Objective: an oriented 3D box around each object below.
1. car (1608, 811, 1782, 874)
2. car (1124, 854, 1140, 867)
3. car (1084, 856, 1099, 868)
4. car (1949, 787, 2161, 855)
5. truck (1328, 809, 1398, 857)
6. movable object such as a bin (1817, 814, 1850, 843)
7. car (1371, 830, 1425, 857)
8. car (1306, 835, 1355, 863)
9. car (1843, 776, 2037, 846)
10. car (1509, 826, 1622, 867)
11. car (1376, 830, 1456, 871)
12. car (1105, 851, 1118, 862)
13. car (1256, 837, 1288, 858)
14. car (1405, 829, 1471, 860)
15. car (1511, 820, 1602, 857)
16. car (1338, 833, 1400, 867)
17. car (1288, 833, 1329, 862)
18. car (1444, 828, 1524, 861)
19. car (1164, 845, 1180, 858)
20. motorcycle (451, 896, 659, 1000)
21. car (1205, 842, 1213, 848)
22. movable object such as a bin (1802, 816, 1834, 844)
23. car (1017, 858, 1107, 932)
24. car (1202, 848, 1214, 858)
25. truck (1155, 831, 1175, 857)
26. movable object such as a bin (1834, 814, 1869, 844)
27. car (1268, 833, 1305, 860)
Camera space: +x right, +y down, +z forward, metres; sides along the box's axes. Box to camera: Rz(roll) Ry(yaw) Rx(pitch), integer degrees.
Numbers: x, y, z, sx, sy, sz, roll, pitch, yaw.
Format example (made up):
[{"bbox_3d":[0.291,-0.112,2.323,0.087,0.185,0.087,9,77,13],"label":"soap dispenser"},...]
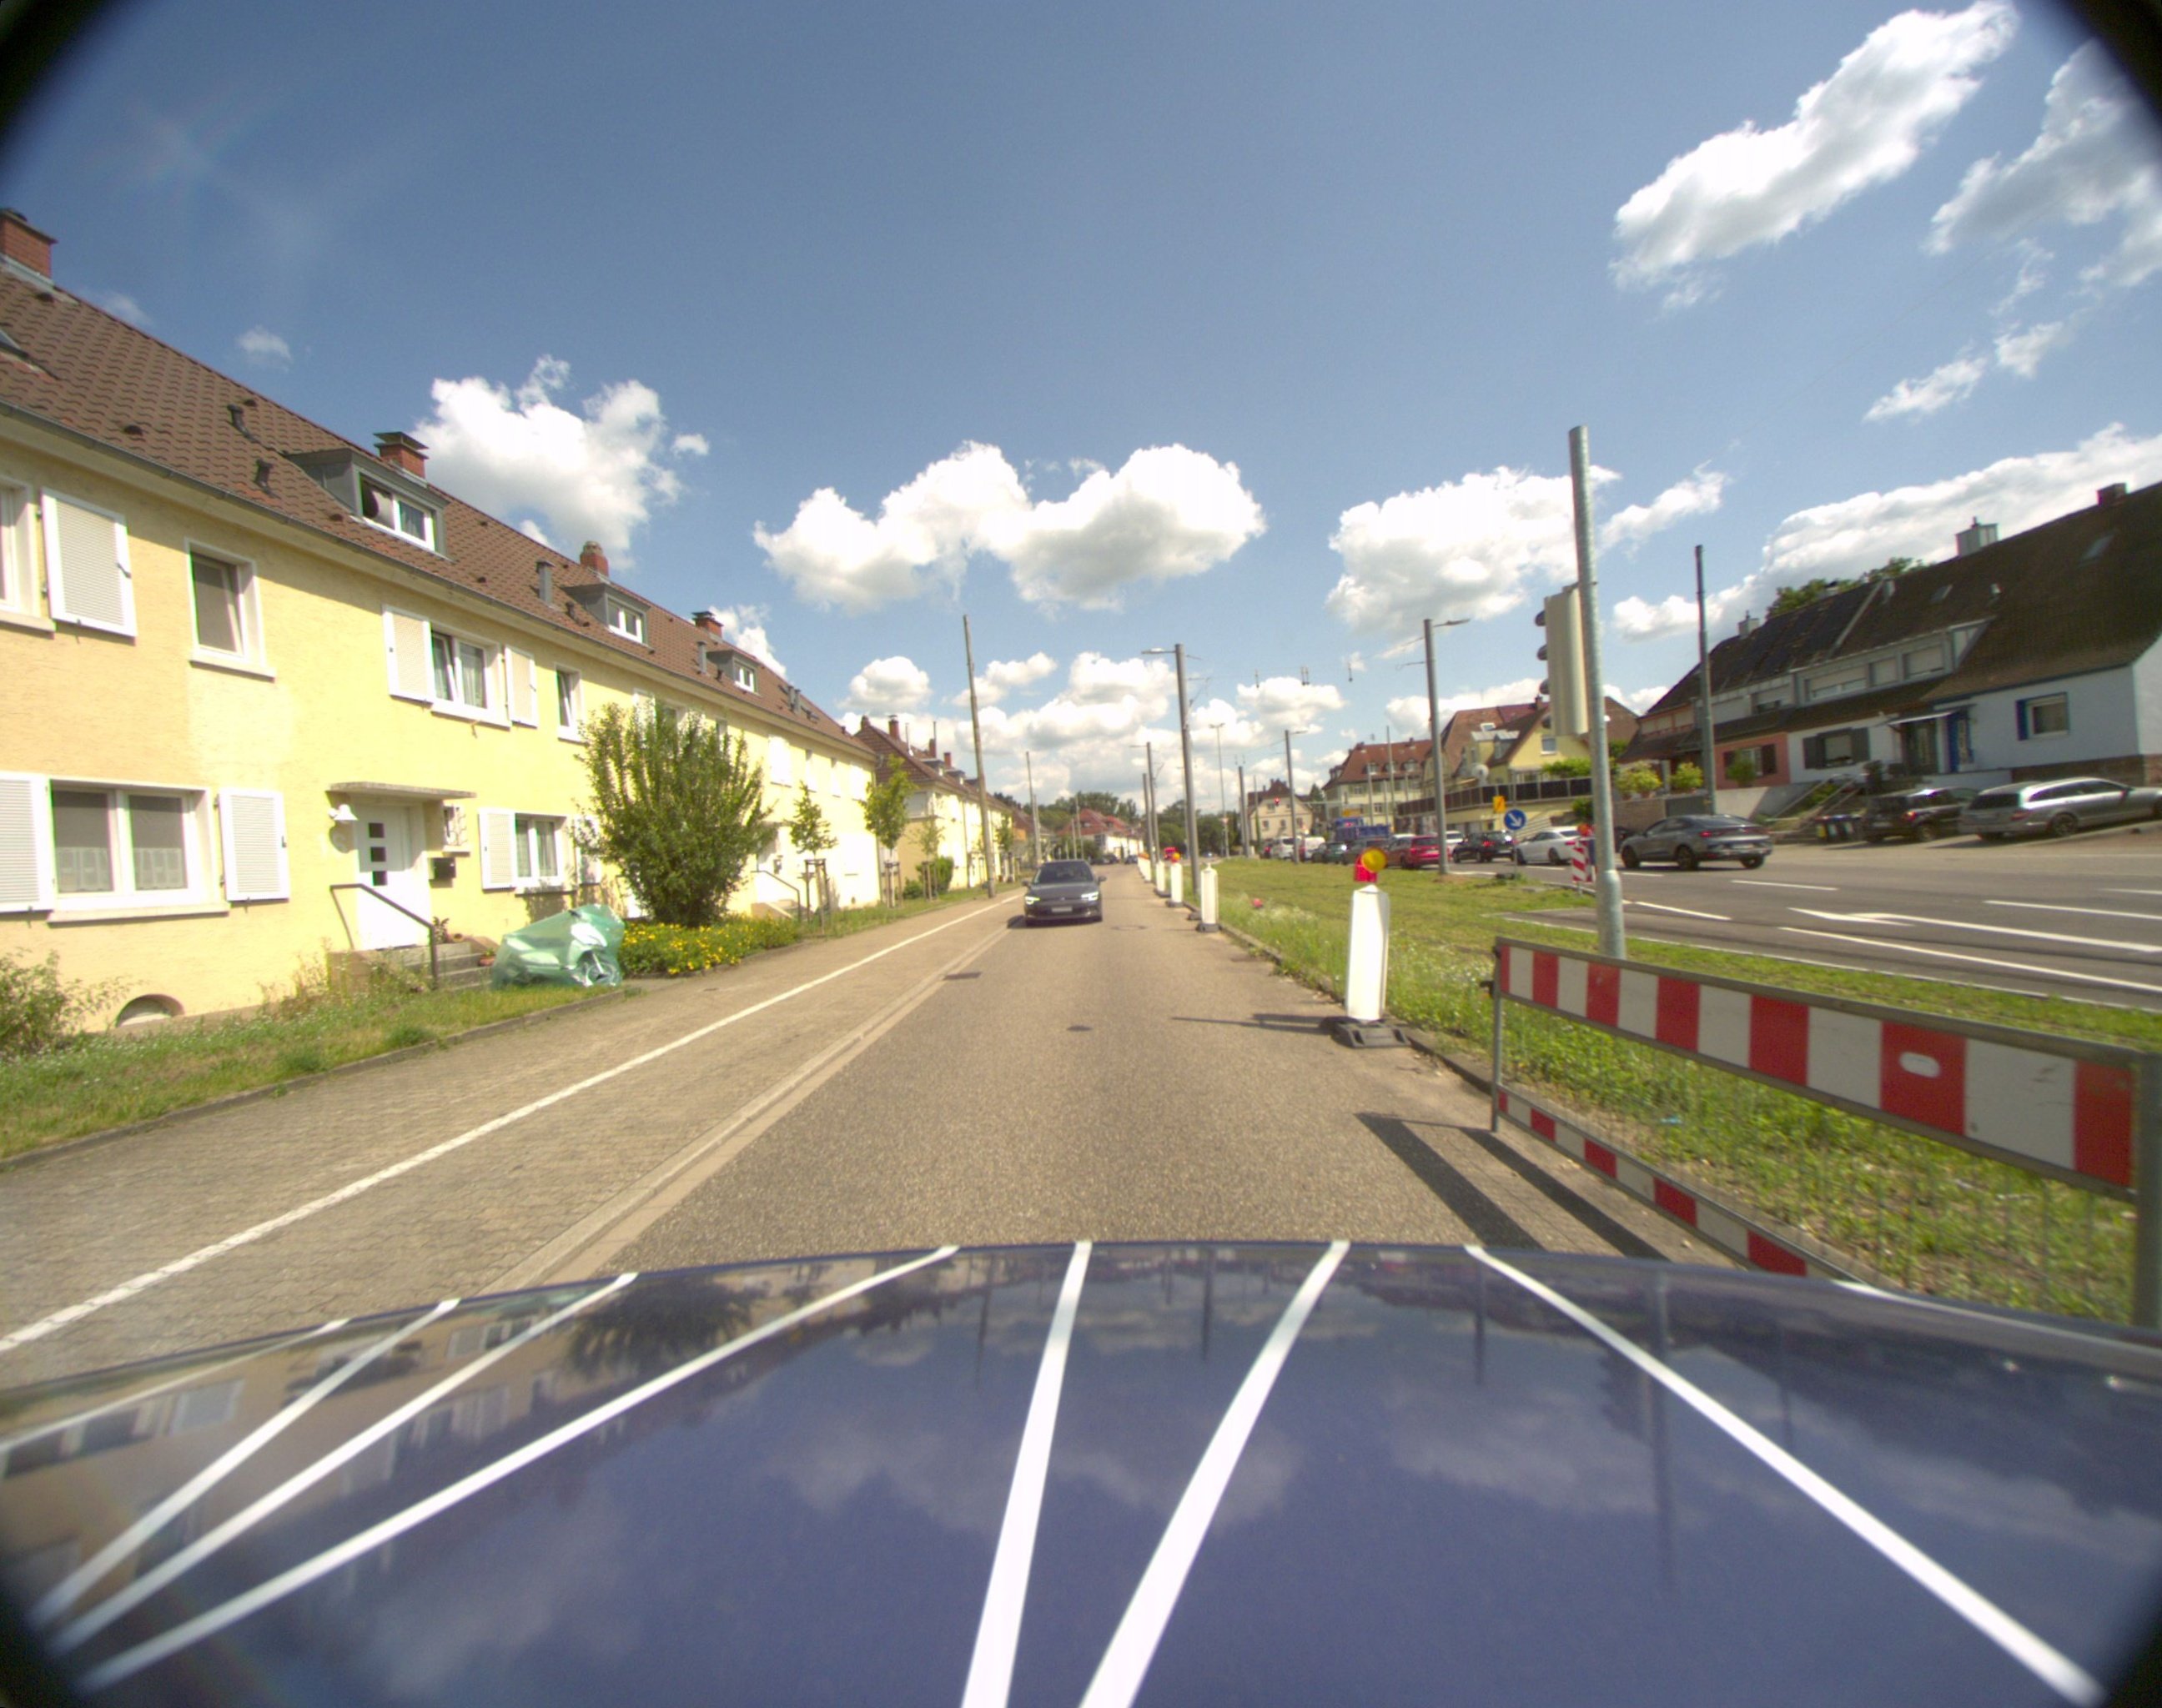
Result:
[{"bbox_3d":[17.600,-0.326,22.138,1.728,1.518,4.773,-4,0,9],"label":"car"},{"bbox_3d":[6.830,0.785,101.584,1.879,1.544,4.985,-4,0,2],"label":"car"},{"bbox_3d":[1.546,1.092,107.711,1.879,1.544,4.985,-4,0,2],"label":"car"},{"bbox_3d":[26.980,-0.892,21.042,3.888,1.546,1.681,-4,0,0],"label":"car"},{"bbox_3d":[21.147,-1.507,57.472,2.841,3.135,7.936,-4,0,6],"label":"truck"},{"bbox_3d":[26.068,-0.864,26.322,0.517,0.947,0.583,-4,1,2],"label":"movable object such as a bin"},{"bbox_3d":[20.721,-0.688,49.843,1.729,1.553,4.542,-4,0,3],"label":"car"},{"bbox_3d":[15.674,-0.292,47.989,1.729,1.553,4.542,-4,0,3],"label":"car"},{"bbox_3d":[26.921,-1.302,23.917,3.997,1.835,1.802,-4,0,0],"label":"car"},{"bbox_3d":[18.336,-0.271,29.043,1.729,1.327,4.543,-4,0,6],"label":"car"},{"bbox_3d":[14.767,-0.162,33.760,1.729,1.553,4.542,-4,0,4],"label":"car"},{"bbox_3d":[4.598,0.311,114.507,1.879,1.544,4.985,-4,0,2],"label":"car"},{"bbox_3d":[17.238,-0.585,68.752,1.922,1.770,4.542,-4,0,3],"label":"car"},{"bbox_3d":[19.888,-0.527,42.552,1.729,1.553,4.542,-4,0,4],"label":"car"},{"bbox_3d":[22.837,-0.708,36.702,1.729,1.553,4.542,-4,0,4],"label":"car"},{"bbox_3d":[15.342,-0.216,40.689,1.729,1.553,4.645,-4,0,4],"label":"car"},{"bbox_3d":[16.274,-0.459,54.595,1.729,1.843,4.542,-4,0,3],"label":"car"},{"bbox_3d":[19.028,-0.443,36.111,1.729,1.327,4.543,-4,0,6],"label":"car"},{"bbox_3d":[15.460,-0.436,129.236,2.283,1.861,4.988,-4,0,10],"label":"car"},{"bbox_3d":[-7.175,1.272,10.439,2.232,1.190,0.854,-4,1,4],"label":"motorcycle"},{"bbox_3d":[34.584,-2.396,205.041,1.721,1.582,4.174,-4,0,6],"label":"car"},{"bbox_3d":[26.088,-0.856,26.904,0.517,0.947,0.583,-4,1,2],"label":"movable object such as a bin"},{"bbox_3d":[-0.339,0.904,18.762,1.742,1.513,4.703,-2,0,4],"label":"car"},{"bbox_3d":[25.560,-0.189,153.044,2.283,1.861,4.989,-4,0,11],"label":"car"},{"bbox_3d":[18.412,-2.151,165.552,3.474,5.153,14.224,-4,0,8],"label":"truck"},{"bbox_3d":[26.046,-0.848,25.677,0.517,0.947,0.610,-4,1,2],"label":"movable object such as a bin"},{"bbox_3d":[16.737,-0.613,62.087,1.922,1.953,4.542,-4,0,3],"label":"car"}]
